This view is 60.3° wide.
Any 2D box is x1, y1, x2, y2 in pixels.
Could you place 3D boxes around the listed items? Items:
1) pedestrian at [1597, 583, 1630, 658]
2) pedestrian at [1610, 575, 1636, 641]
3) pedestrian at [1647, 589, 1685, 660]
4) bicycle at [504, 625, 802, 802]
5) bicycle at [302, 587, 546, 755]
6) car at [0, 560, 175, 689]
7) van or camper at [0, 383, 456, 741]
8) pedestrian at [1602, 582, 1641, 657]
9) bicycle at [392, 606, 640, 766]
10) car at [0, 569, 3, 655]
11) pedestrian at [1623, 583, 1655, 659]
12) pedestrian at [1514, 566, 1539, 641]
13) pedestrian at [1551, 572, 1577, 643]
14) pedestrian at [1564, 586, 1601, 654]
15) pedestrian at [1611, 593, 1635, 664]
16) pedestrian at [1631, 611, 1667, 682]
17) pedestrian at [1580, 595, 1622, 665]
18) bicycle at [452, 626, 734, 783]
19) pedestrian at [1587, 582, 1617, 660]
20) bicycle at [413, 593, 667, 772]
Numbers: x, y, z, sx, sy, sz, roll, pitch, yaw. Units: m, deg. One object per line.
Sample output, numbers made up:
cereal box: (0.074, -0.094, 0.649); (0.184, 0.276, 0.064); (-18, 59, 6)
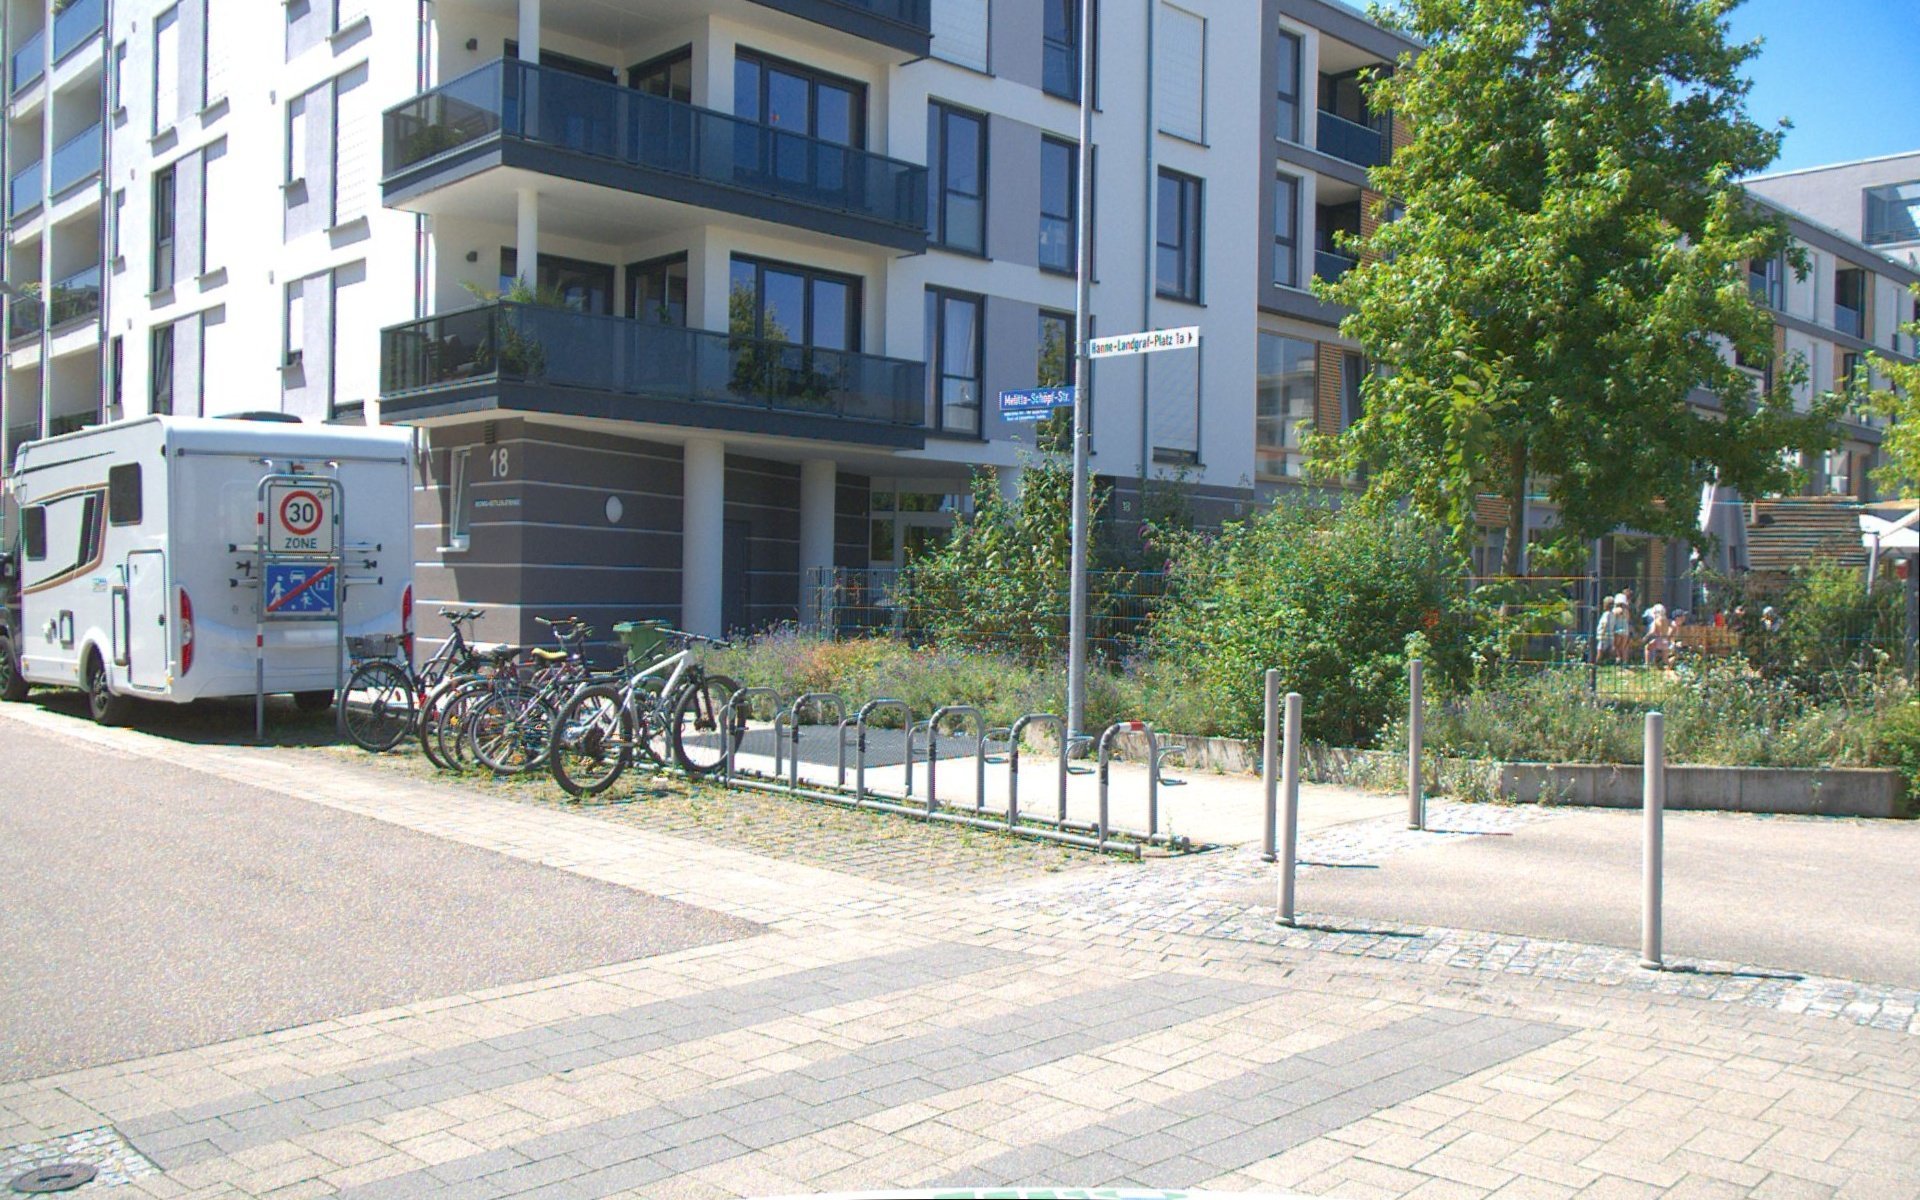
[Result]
pedestrian: (9.382, 0.292, 23.748); (0.286, 1.072, 0.319); (1, 0, -25)
pedestrian: (15.619, 0.187, 38.958); (0.451, 1.534, 0.397); (1, 0, 6)
pedestrian: (9.894, 0.341, 23.178); (0.287, 0.988, 0.383); (1, 0, -32)
bicycle: (-2.073, 0.732, 11.471); (0.857, 1.020, 2.027); (1, 2, 34)
bicycle: (-4.516, 0.556, 14.079); (0.809, 1.244, 1.918); (1, 3, 30)
car: (-12.209, 0.260, 22.099); (1.800, 1.531, 4.190); (-2, 2, -45)
van or camper: (-8.233, -0.319, 17.328); (2.428, 2.957, 7.699); (1, 0, -44)
pedestrian: (9.356, 0.281, 23.388); (0.403, 1.043, 0.281); (2, -1, -11)
bicycle: (-3.419, 0.628, 12.864); (1.873, 1.130, 0.468); (-1, 1, -43)
car: (-18.151, 0.187, 28.691); (1.836, 1.441, 4.358); (0, 1, -42)
pedestrian: (9.653, 0.300, 23.511); (0.286, 1.072, 0.284); (1, 0, -25)
pedestrian: (13.240, 0.081, 38.659); (0.389, 1.720, 0.460); (1, 0, 39)
pedestrian: (13.273, 0.160, 36.360); (0.387, 1.534, 0.463); (1, 0, 5)
pedestrian: (9.592, 0.305, 25.488); (0.403, 1.043, 0.314); (2, 0, -11)
pedestrian: (10.222, 0.435, 25.504); (0.314, 1.072, 0.290); (1, 0, 24)
pedestrian: (10.294, 0.690, 24.702); (0.389, 1.044, 0.410); (1, -1, 36)
pedestrian: (9.345, 0.431, 24.110); (0.405, 1.003, 0.367); (2, -1, -25)
bicycle: (-2.695, 0.729, 12.181); (1.834, 0.992, 0.935); (-2, 1, -31)
pedestrian: (8.995, 0.289, 23.168); (0.283, 1.072, 0.289); (1, 0, -1)
bicycle: (-3.163, 0.582, 12.594); (1.840, 1.244, 0.547); (-1, 2, -43)
